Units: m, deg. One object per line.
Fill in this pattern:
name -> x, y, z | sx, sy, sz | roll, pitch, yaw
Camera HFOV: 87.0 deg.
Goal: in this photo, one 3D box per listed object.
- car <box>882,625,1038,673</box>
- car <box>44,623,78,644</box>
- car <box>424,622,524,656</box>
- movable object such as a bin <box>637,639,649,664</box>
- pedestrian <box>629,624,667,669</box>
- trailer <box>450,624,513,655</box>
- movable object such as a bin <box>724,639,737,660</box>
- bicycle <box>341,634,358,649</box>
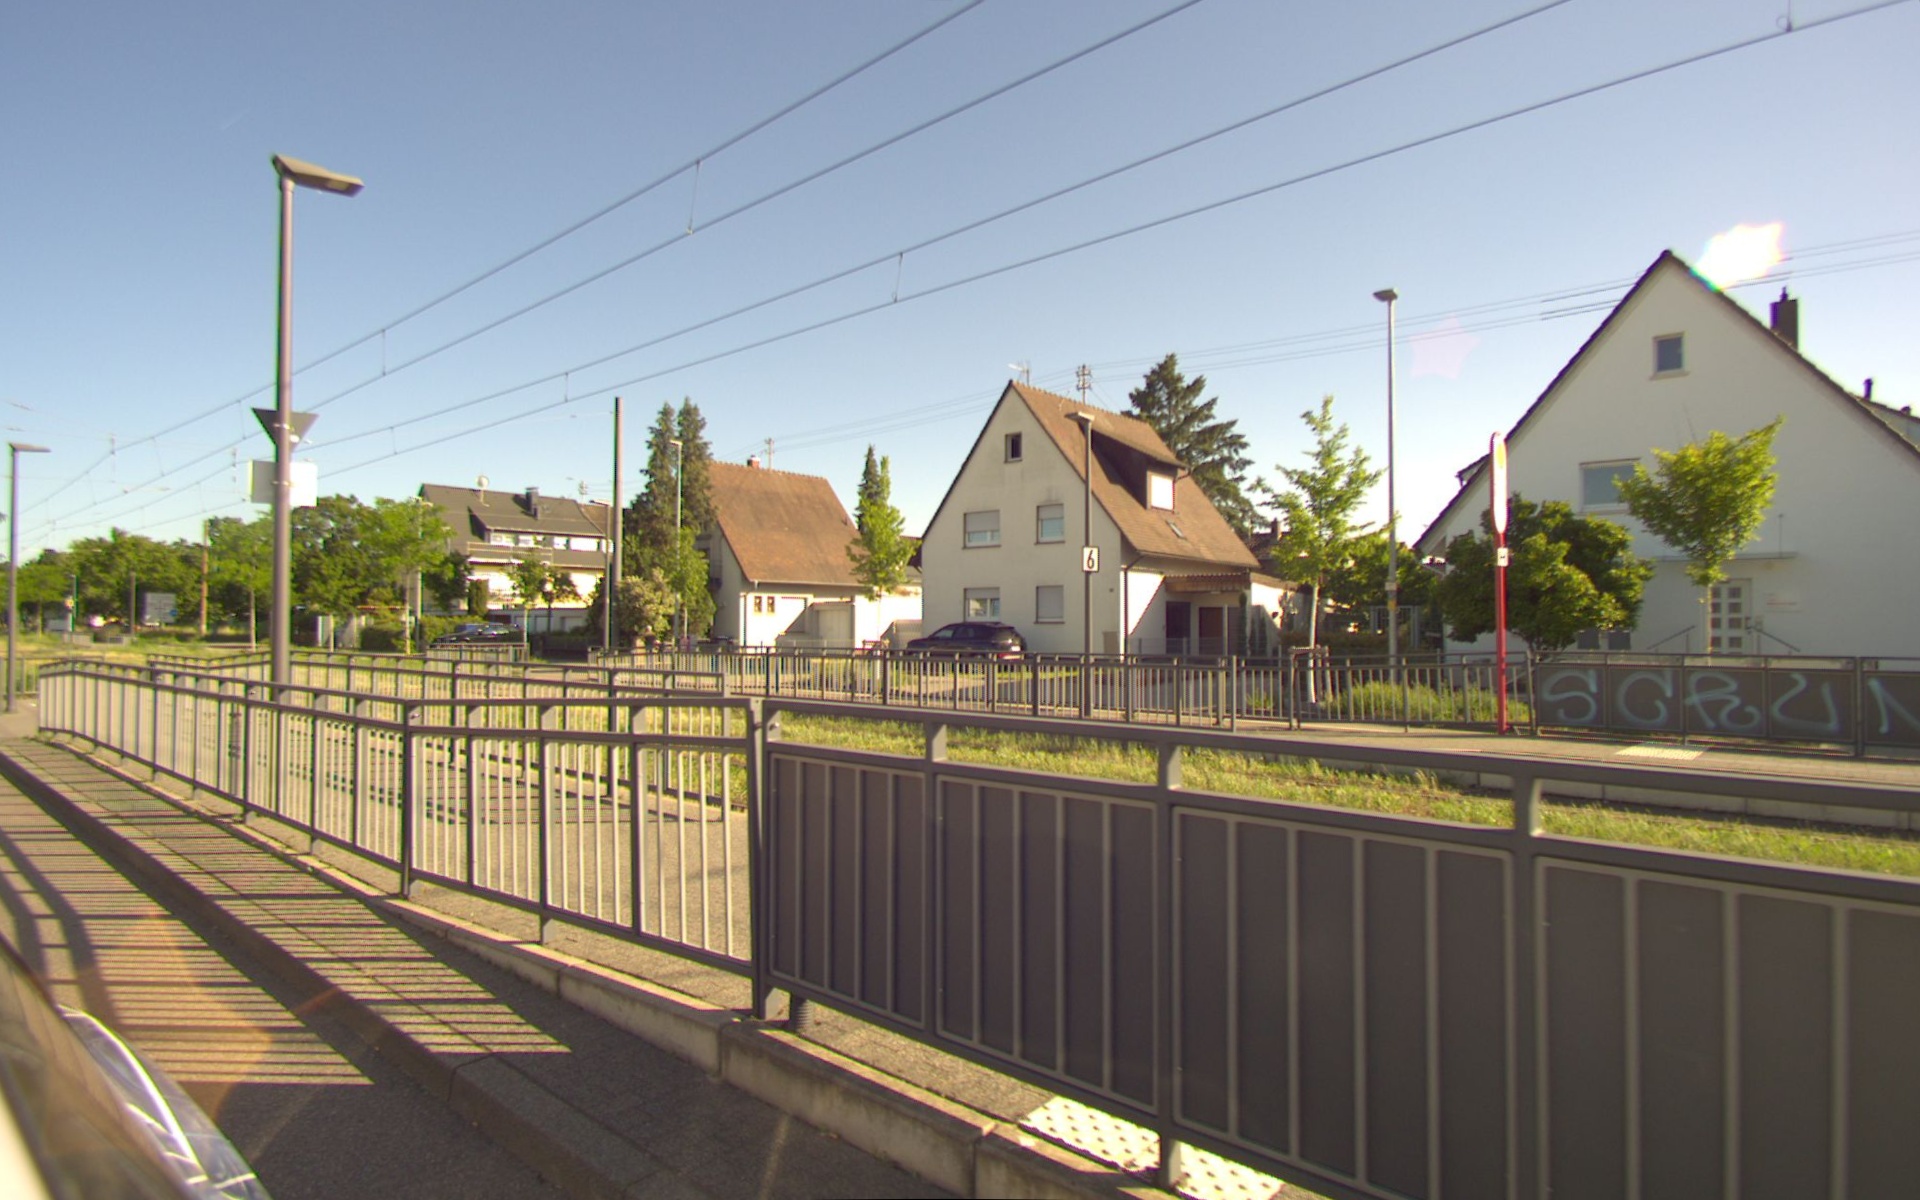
car -> -0.070, 1.552, 33.292 | 5.160, 1.461, 1.914 | -1, -2, 41
car -> -82.732, 3.064, 93.112 | 4.701, 1.929, 1.877 | -1, -2, 42
car -> -26.350, 2.111, 55.026 | 2.044, 1.748, 4.509 | -1, -2, 30
movable object such as a bin -> -13.110, 2.126, 41.899 | 0.350, 0.977, 0.323 | -1, 0, 37
pedestrian -> -11.912, 1.761, 38.603 | 1.085, 1.653, 0.955 | -1, -2, 41
trailer -> -27.147, 2.220, 57.483 | 1.397, 1.660, 2.885 | -1, -2, 38
movable object such as a bin -> -10.146, 2.180, 44.804 | 0.451, 0.904, 0.367 | -1, 0, 37
bicycle -> -39.496, 2.673, 65.500 | 1.748, 0.949, 0.419 | -1, 0, 42
